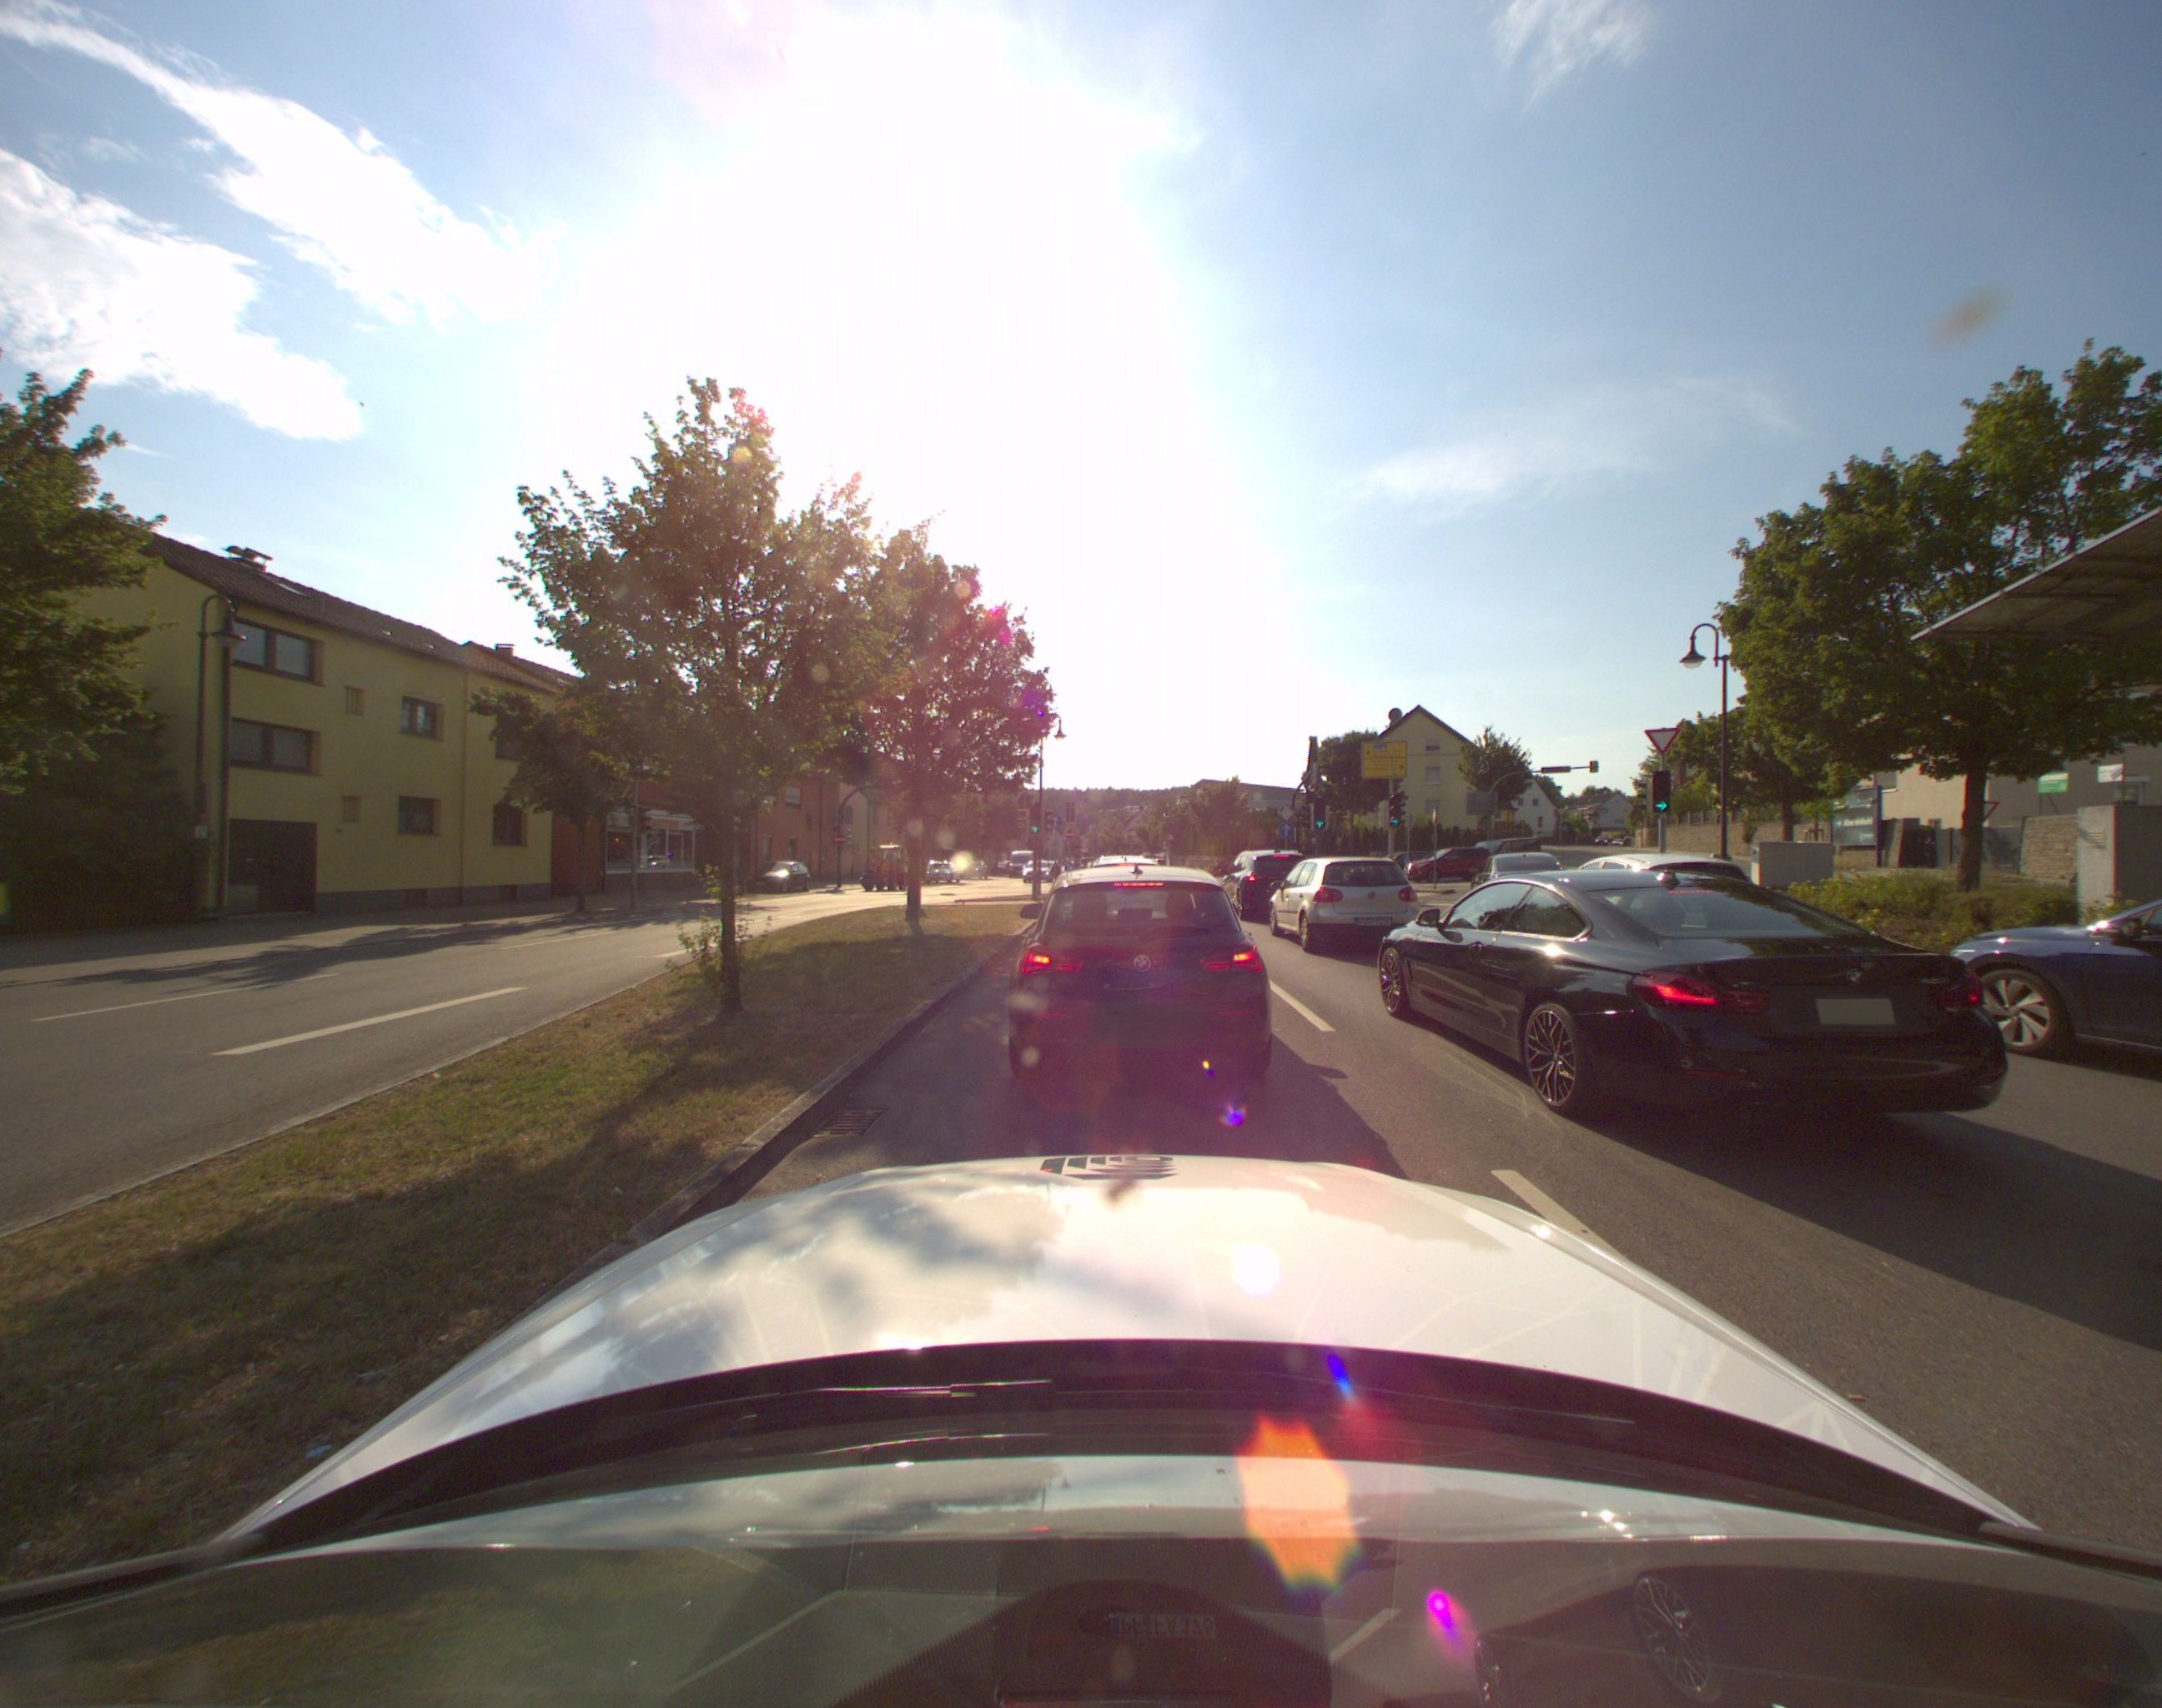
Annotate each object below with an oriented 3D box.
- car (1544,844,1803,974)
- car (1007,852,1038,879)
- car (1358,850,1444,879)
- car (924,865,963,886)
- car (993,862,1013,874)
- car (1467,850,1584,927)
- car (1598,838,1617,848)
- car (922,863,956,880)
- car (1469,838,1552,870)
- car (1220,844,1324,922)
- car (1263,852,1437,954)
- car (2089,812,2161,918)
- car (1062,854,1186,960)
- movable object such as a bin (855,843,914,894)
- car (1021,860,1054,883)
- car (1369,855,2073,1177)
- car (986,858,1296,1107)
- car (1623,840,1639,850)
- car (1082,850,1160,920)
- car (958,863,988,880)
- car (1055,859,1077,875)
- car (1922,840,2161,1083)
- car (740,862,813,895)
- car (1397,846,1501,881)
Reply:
[{"bbox_3d":[8.112,0.667,11.544,1.608,1.542,3.326,-2,0,9],"label":"car"},{"bbox_3d":[-5.345,1.066,74.858,2.075,2.394,5.533,0,-1,3],"label":"car"},{"bbox_3d":[17.354,0.568,44.340,3.974,1.489,1.848,0,0,-1],"label":"car"},{"bbox_3d":[-9.718,1.473,57.779,1.729,1.301,3.804,4,0,5],"label":"car"},{"bbox_3d":[-9.335,1.657,97.551,1.729,1.301,3.804,4,0,5],"label":"car"},{"bbox_3d":[10.108,0.705,18.842,1.642,1.542,4.420,-2,0,19],"label":"car"},{"bbox_3d":[88.195,-1.883,136.419,1.946,1.680,4.241,-2,0,41],"label":"car"},{"bbox_3d":[-11.734,1.428,67.577,1.728,1.301,4.006,4,0,6],"label":"car"},{"bbox_3d":[24.495,-0.015,46.376,4.796,1.739,1.831,0,0,-28],"label":"car"},{"bbox_3d":[4.575,0.648,20.026,1.755,1.656,3.905,-2,0,2],"label":"car"},{"bbox_3d":[4.327,0.713,13.744,1.755,1.426,3.905,-2,0,2],"label":"car"},{"bbox_3d":[18.499,0.153,12.365,3.793,1.632,1.784,0,0,10],"label":"car"},{"bbox_3d":[0.725,0.778,14.093,1.781,1.494,4.283,-2,0,2],"label":"car"},{"bbox_3d":[-10.025,0.727,41.956,1.729,2.442,4.452,-1,0,3],"label":"movable object such as a bin"},{"bbox_3d":[-2.942,1.156,55.719,1.832,1.482,4.002,-1,0,2],"label":"car"},{"bbox_3d":[3.625,0.736,5.804,1.755,1.397,4.283,-2,0,2],"label":"car"},{"bbox_3d":[0.447,0.770,6.949,1.781,1.397,4.283,-2,0,2],"label":"car"},{"bbox_3d":[92.629,-1.552,137.148,1.945,1.680,4.242,-2,0,36],"label":"car"},{"bbox_3d":[1.042,0.740,21.469,1.781,1.594,4.283,-2,0,2],"label":"car"},{"bbox_3d":[-9.338,1.523,70.477,1.729,1.301,3.804,4,0,5],"label":"car"},{"bbox_3d":[-1.413,1.241,79.121,1.832,1.482,4.002,-1,0,2],"label":"car"},{"bbox_3d":[7.426,0.647,4.252,1.754,1.453,4.323,-2,0,4],"label":"car"},{"bbox_3d":[-14.131,1.116,38.015,1.730,1.301,4.002,4,0,2],"label":"car"},{"bbox_3d":[18.357,0.454,40.717,4.410,1.641,1.845,0,0,-6],"label":"car"}]
